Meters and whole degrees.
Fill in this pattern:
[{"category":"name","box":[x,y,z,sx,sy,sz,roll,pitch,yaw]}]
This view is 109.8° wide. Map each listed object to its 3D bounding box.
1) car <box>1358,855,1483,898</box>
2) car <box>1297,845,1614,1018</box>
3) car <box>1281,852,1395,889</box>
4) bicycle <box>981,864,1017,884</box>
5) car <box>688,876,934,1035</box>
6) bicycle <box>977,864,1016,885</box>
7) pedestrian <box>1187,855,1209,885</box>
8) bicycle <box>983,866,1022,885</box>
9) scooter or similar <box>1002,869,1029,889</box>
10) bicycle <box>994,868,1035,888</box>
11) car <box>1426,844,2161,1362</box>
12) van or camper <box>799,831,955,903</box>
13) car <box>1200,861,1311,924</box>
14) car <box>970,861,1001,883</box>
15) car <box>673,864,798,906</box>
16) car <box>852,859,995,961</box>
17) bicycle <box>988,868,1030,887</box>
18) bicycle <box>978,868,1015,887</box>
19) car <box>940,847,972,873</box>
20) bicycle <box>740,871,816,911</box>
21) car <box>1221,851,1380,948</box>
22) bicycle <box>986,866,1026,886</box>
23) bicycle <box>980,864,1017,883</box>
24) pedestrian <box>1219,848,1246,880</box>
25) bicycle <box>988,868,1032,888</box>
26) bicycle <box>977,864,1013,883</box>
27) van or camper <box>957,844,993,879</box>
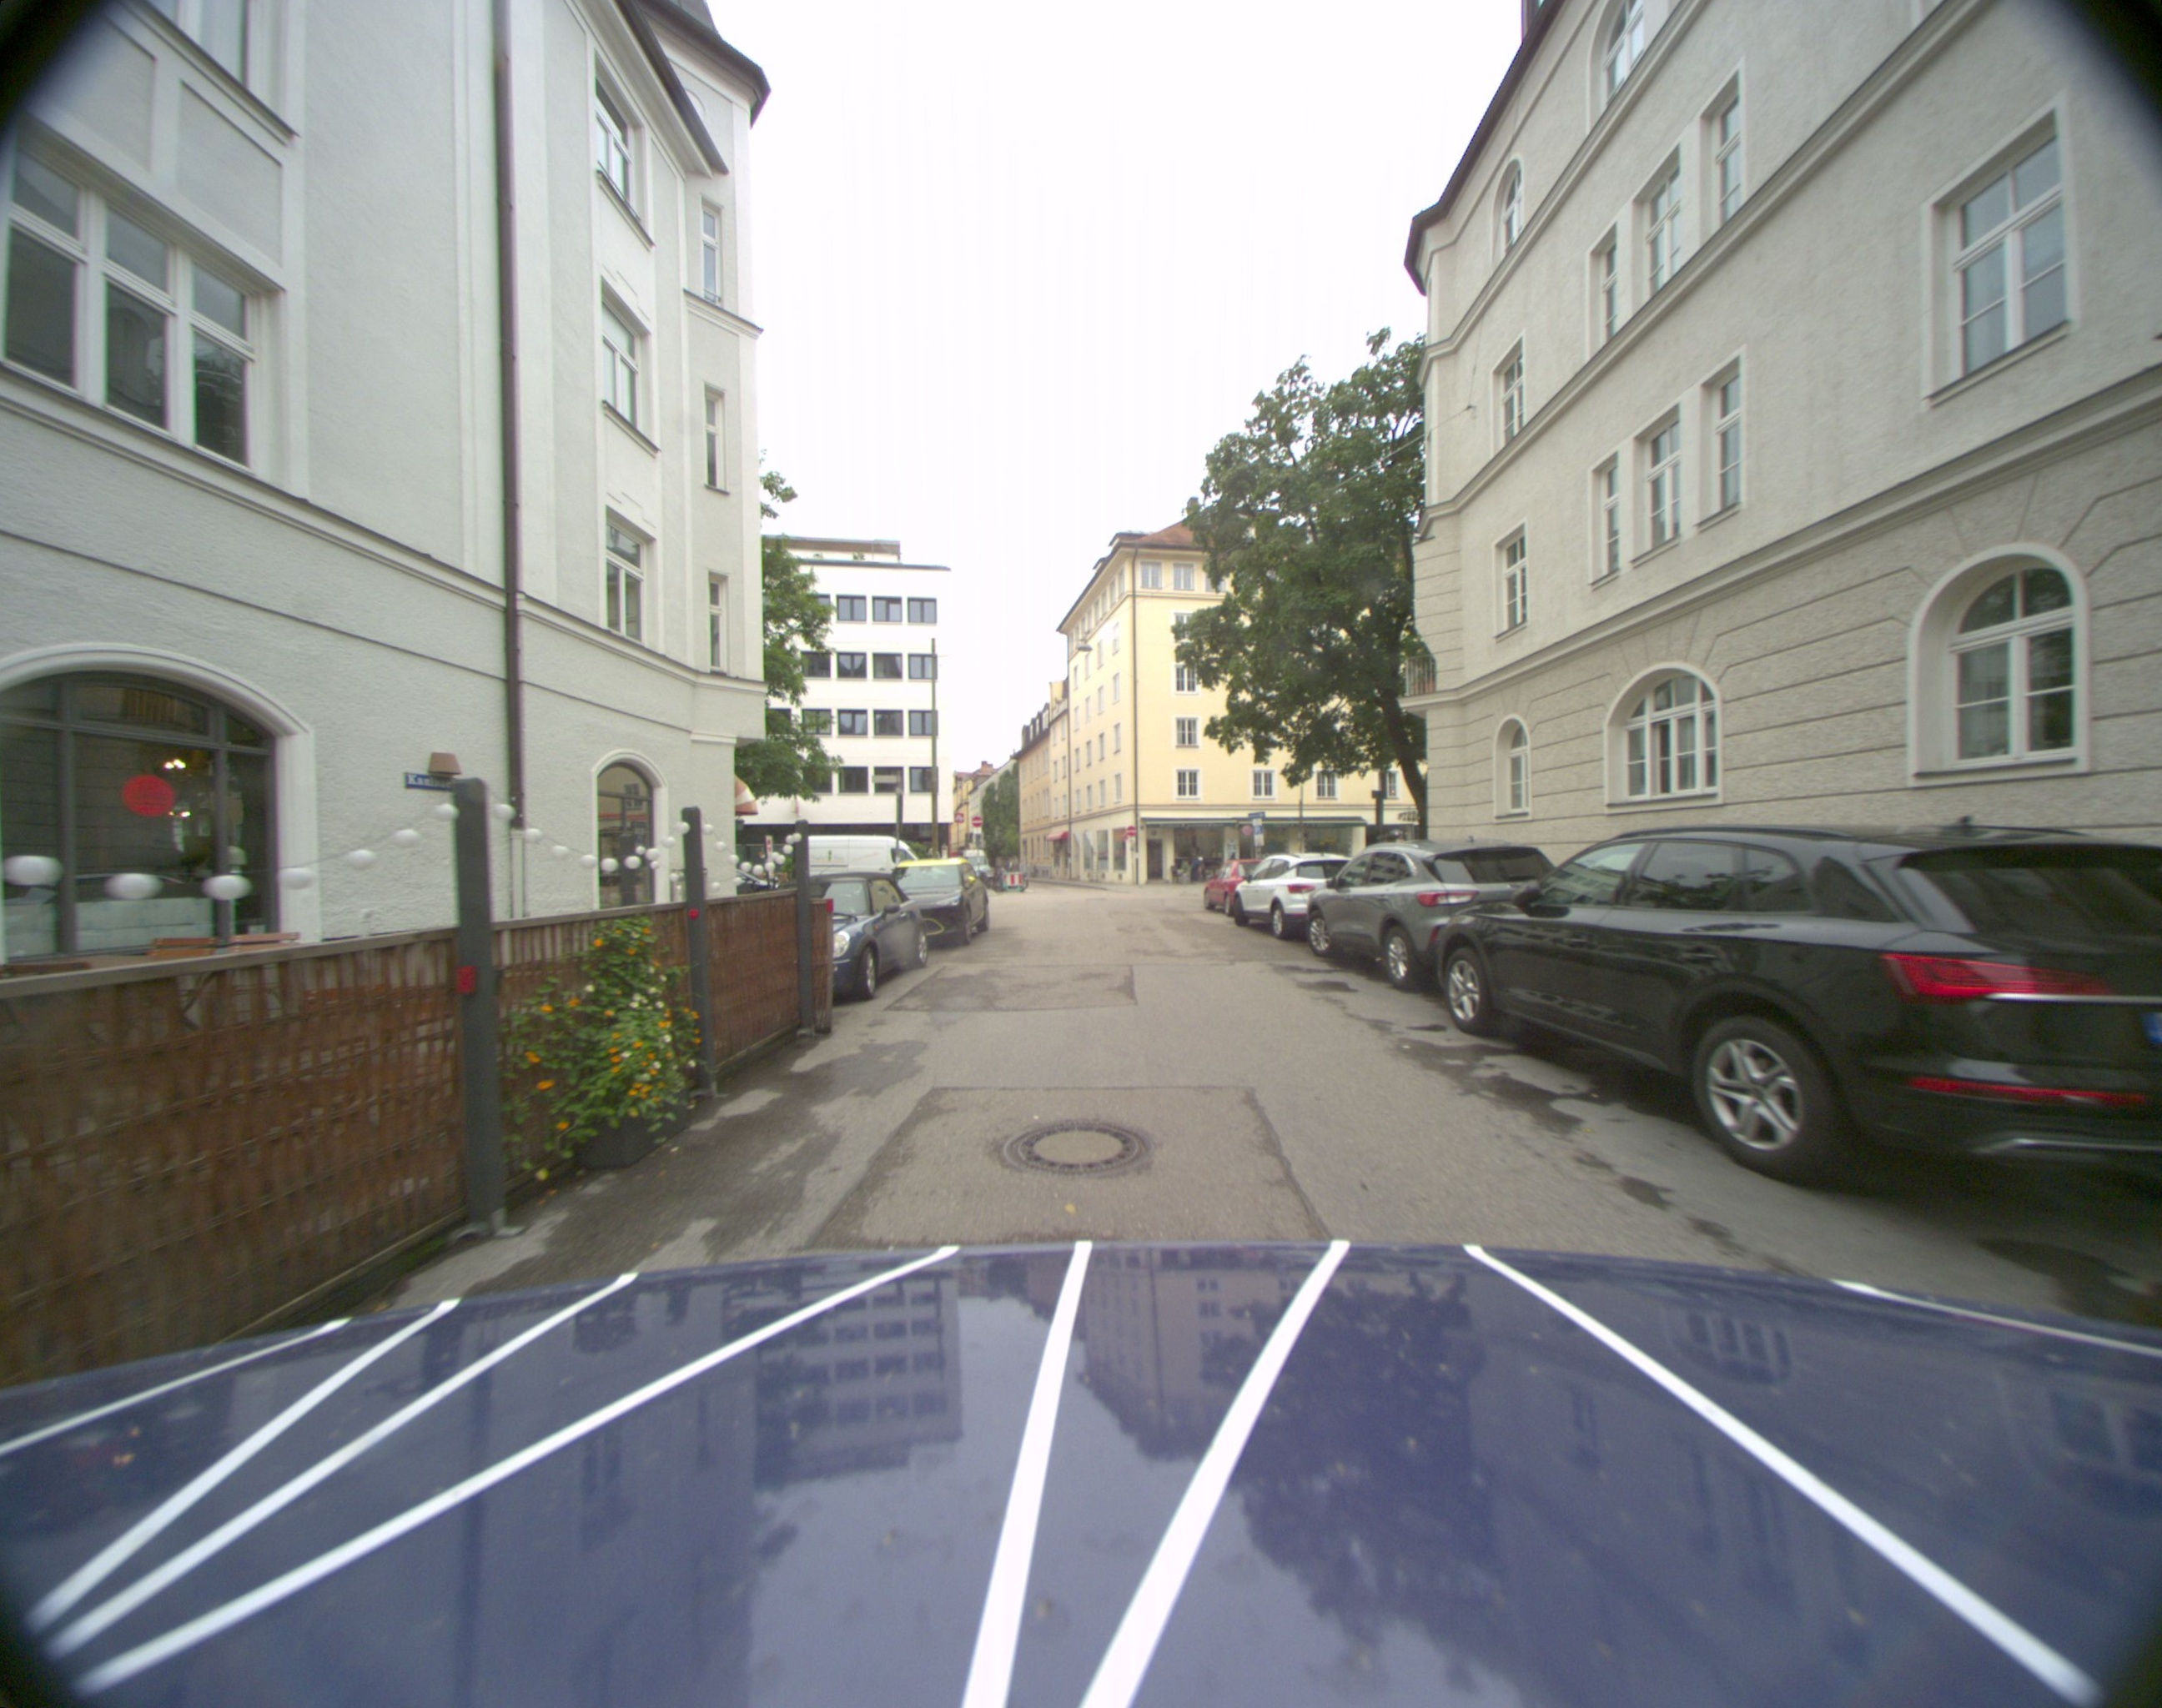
[{"category":"car","box":[12.796,0.828,28.743,4.000,1.450,1.792,-1,2,-9]},{"category":"car","box":[4.310,0.766,9.625,1.841,1.668,4.212,-1,0,-1]},{"category":"car","box":[11.767,0.766,34.968,4.490,1.473,2.028,-1,-4,-11]},{"category":"bicycle","box":[-4.941,1.203,45.745,2.037,1.139,0.668,-1,0,-12]},{"category":"car","box":[-3.063,1.077,9.414,1.670,1.392,3.492,-4,0,1]},{"category":"bicycle","box":[-4.989,1.193,44.916,2.209,1.139,0.739,-1,0,-12]},{"category":"pedestrian","box":[6.327,0.859,41.171,0.920,1.601,0.777,-1,1,30]},{"category":"bicycle","box":[-4.505,1.227,43.615,2.154,1.026,0.974,-1,0,-12]},{"category":"scooter or similar","box":[-3.276,1.231,38.000,1.283,0.970,0.498,-1,0,-12]},{"category":"bicycle","box":[-3.419,1.239,39.132,1.995,0.958,0.972,-1,0,-12]},{"category":"car","box":[3.974,0.769,4.555,1.880,1.590,4.434,-1,0,2]},{"category":"van or camper","box":[-8.223,0.552,31.147,5.870,2.697,2.304,-1,-2,-8]},{"category":"car","box":[4.340,0.897,19.590,1.685,1.385,4.478,0,0,-2]},{"category":"car","box":[-6.488,1.208,51.439,1.760,1.386,3.996,-1,0,-11]},{"category":"car","box":[-13.544,1.225,30.029,4.146,1.476,1.892,-1,-3,-12]},{"category":"car","box":[-2.936,0.973,15.057,1.841,1.609,4.094,-4,0,1]},{"category":"bicycle","box":[-3.931,1.255,41.420,2.175,0.958,0.974,-1,0,-12]},{"category":"bicycle","box":[-5.321,1.453,47.951,2.206,1.139,0.695,-1,0,-12]},{"category":"car","box":[-10.677,0.525,64.848,2.002,2.121,3.993,-1,0,-20]},{"category":"bicycle","box":[-9.068,1.096,22.786,2.009,1.123,0.687,-1,0,5]},{"category":"car","box":[4.065,0.759,14.772,1.699,1.559,3.949,-1,1,-4]},{"category":"bicycle","box":[-4.179,1.230,42.494,2.106,1.026,0.974,-1,0,-12]},{"category":"bicycle","box":[-5.068,1.190,46.504,2.182,1.139,0.674,-1,0,-12]},{"category":"pedestrian","box":[8.003,0.531,40.159,1.125,1.667,0.870,-1,0,-9]},{"category":"bicycle","box":[-3.762,1.264,40.273,2.178,0.971,0.974,-1,0,-12]},{"category":"bicycle","box":[-5.515,1.245,48.536,2.208,1.139,0.638,-1,0,-12]},{"category":"van or camper","box":[-8.180,0.579,58.456,1.968,2.494,5.716,-1,0,-15]}]
